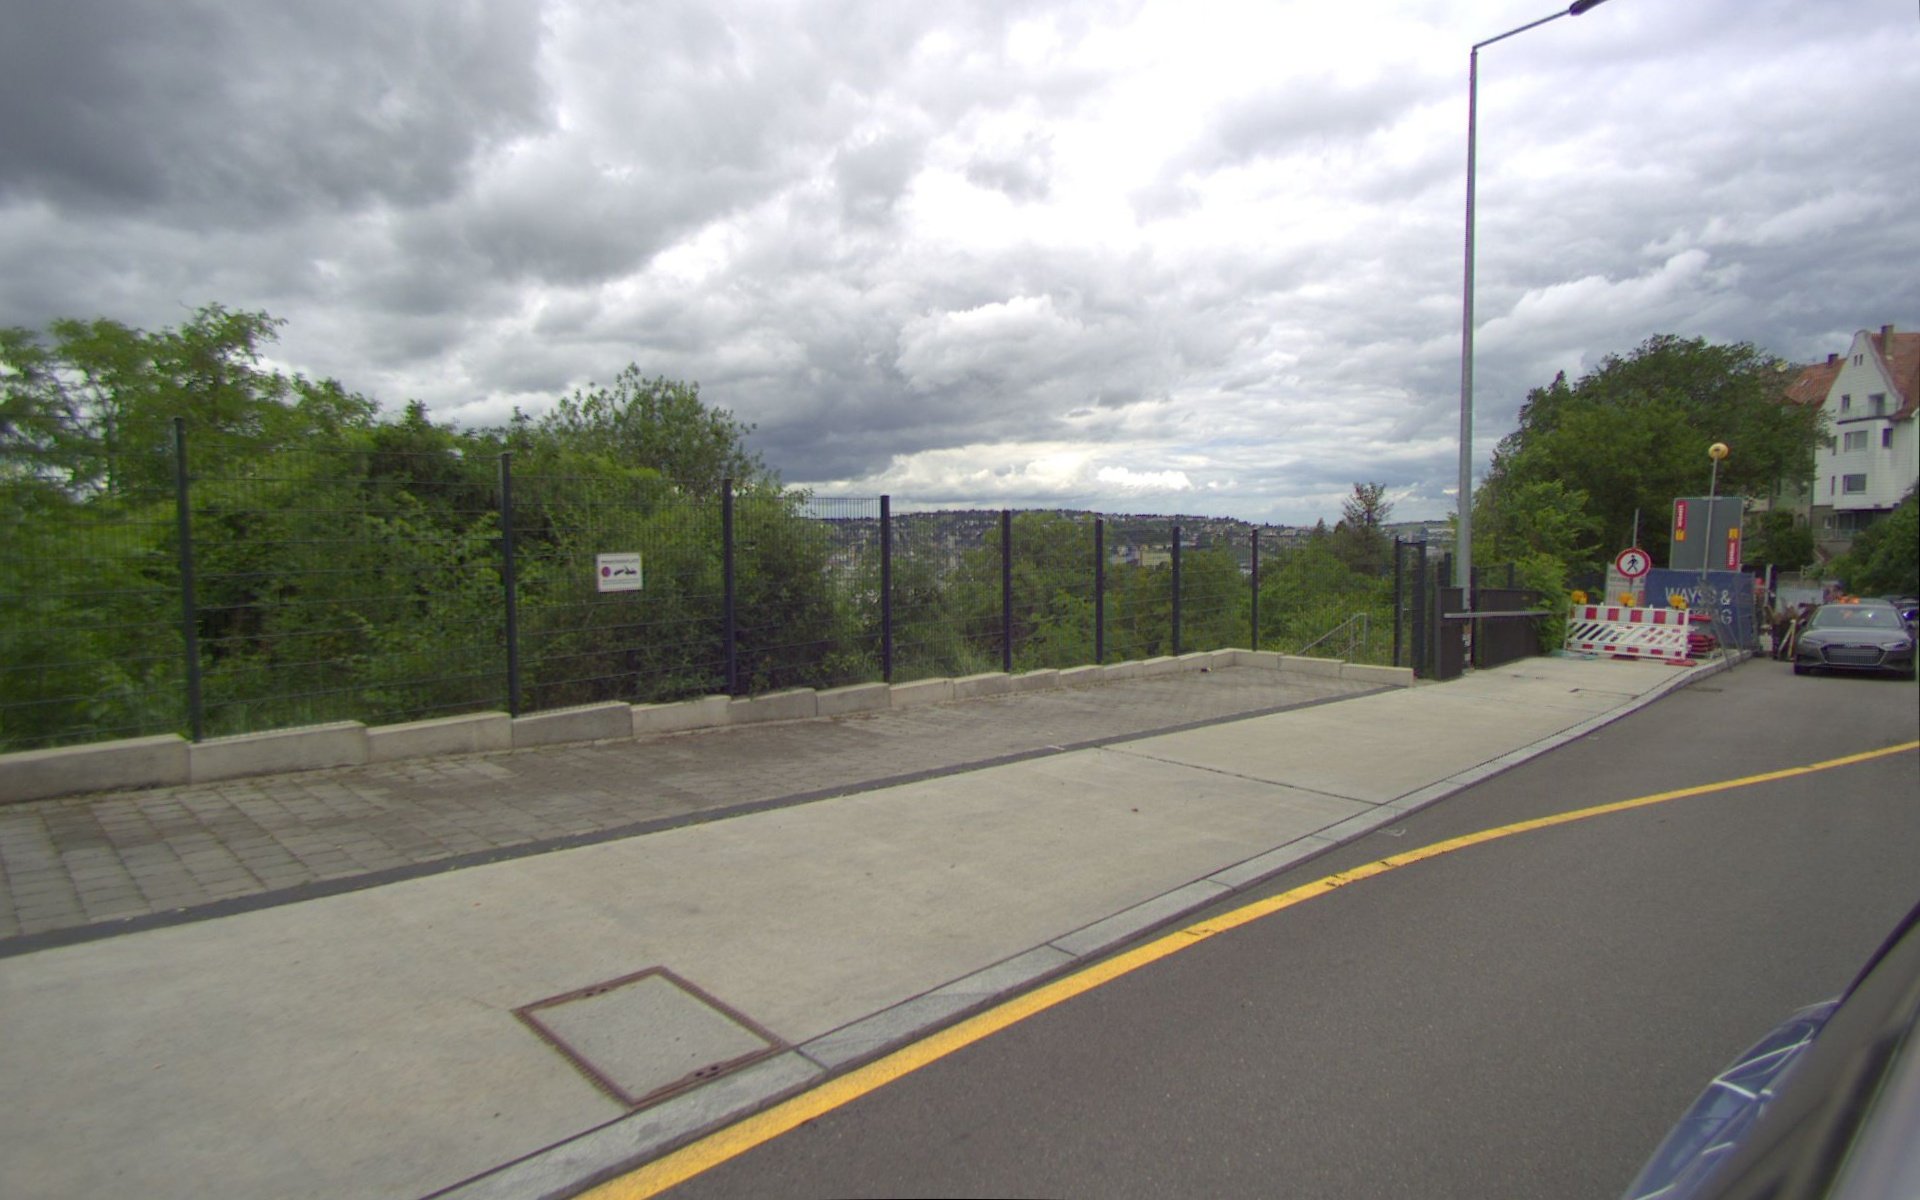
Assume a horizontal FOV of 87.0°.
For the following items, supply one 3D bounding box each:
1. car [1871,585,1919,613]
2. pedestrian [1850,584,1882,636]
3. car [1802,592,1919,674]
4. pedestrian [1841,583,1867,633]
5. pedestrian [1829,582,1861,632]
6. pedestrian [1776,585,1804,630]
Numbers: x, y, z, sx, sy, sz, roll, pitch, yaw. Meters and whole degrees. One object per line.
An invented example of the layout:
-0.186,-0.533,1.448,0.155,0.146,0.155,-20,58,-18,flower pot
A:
60.609,-0.084,64.940,1.747,1.616,3.768,-4,-1,19,car
33.982,0.372,37.968,0.635,1.882,0.825,4,2,32,pedestrian
18.415,0.578,20.506,1.840,1.473,4.555,1,1,43,car
34.477,0.305,39.023,0.523,1.865,0.787,4,2,32,pedestrian
34.953,0.280,39.976,0.608,1.909,0.718,3,-1,3,pedestrian
33.788,0.308,41.189,0.638,1.816,0.640,-2,0,18,pedestrian
